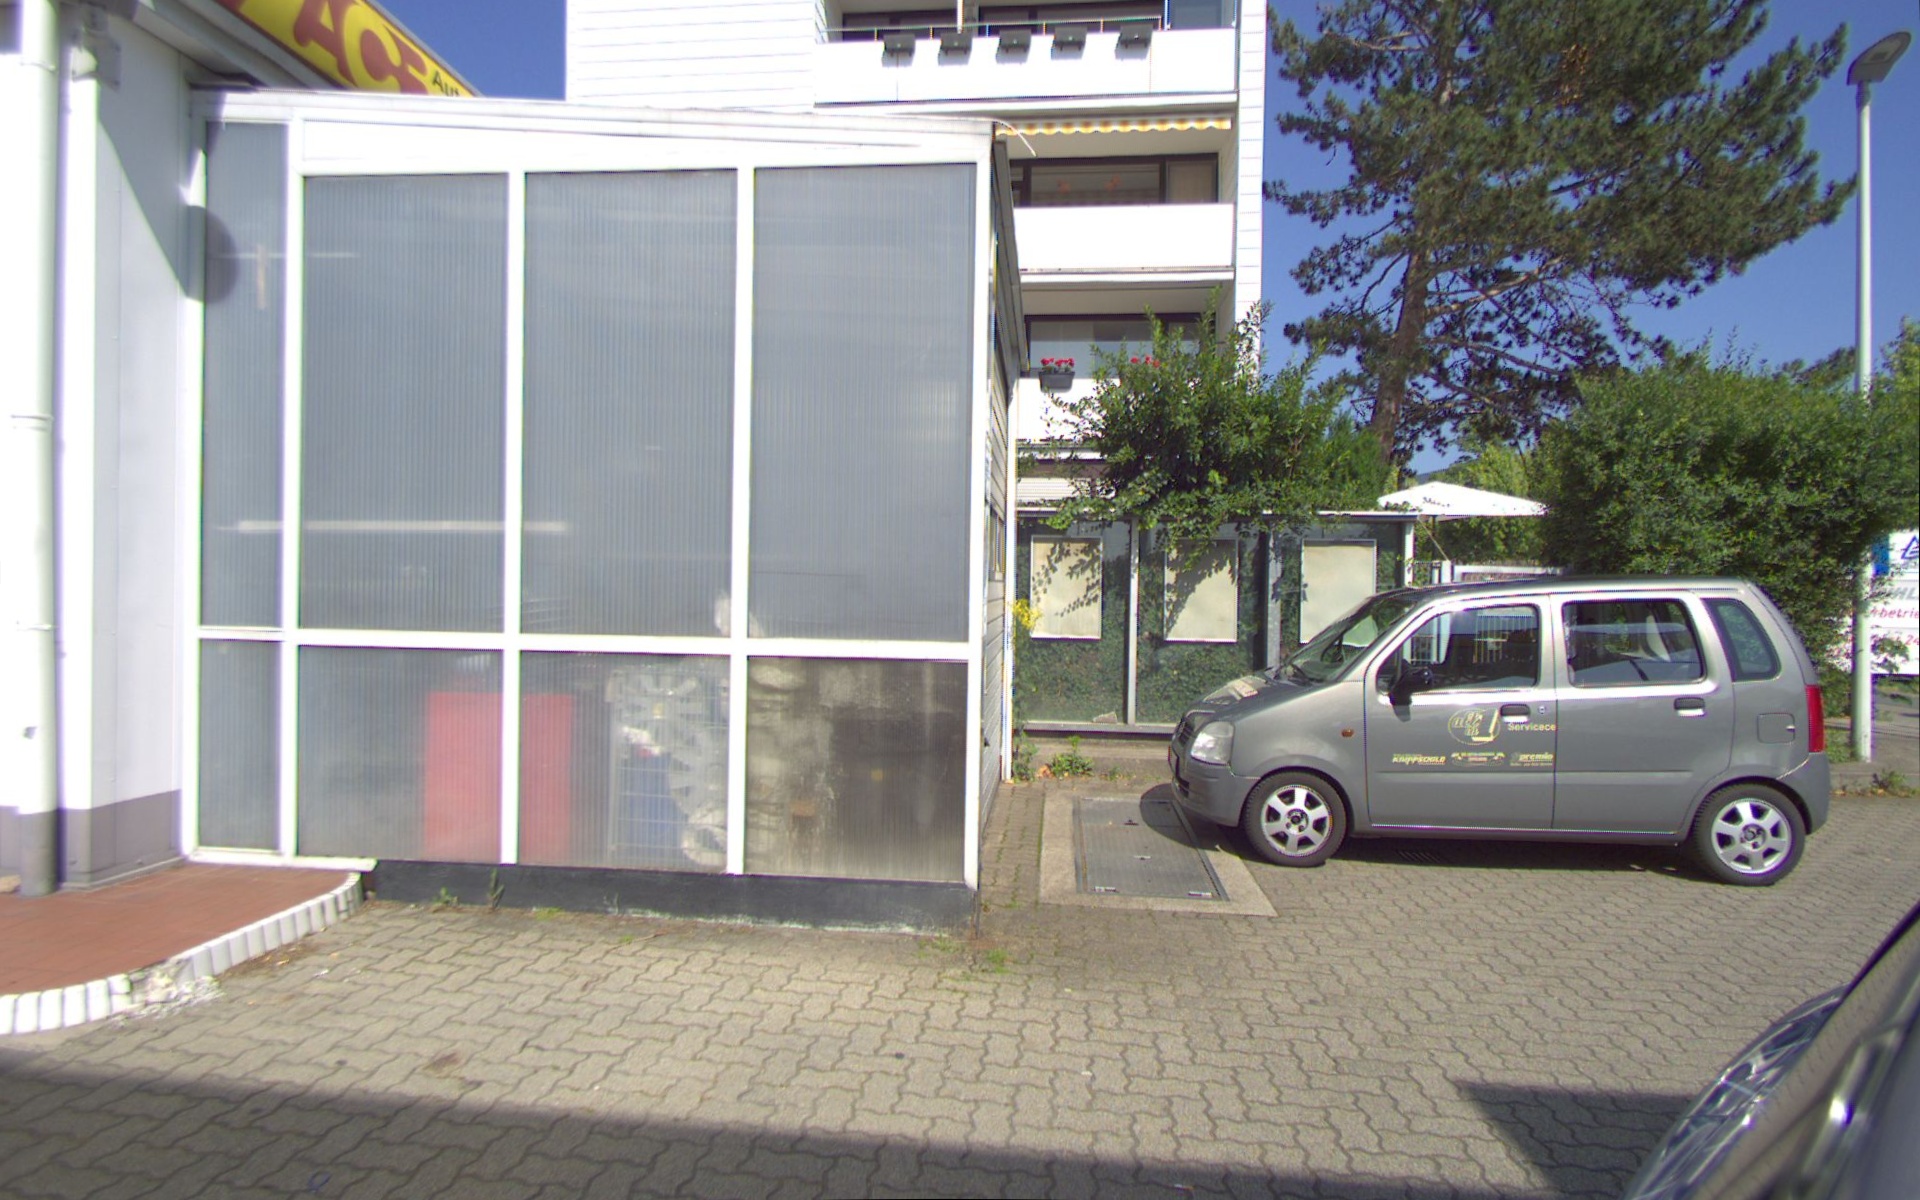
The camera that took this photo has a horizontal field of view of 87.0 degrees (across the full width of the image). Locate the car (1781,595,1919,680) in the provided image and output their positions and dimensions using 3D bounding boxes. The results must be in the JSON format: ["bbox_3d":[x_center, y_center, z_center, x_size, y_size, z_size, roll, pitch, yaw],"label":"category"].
[{"bbox_3d":[18.241,0.729,19.503,4.137,1.434,1.886,2,1,-21],"label":"car"}]

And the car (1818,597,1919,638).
[{"bbox_3d":[36.332,0.692,39.934,3.648,1.408,1.886,3,1,-12],"label":"car"}]

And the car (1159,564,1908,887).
[{"bbox_3d":[3.121,0.625,6.213,3.600,1.637,1.689,0,1,8],"label":"car"}]

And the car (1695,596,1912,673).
[{"bbox_3d":[18.820,0.758,22.606,4.137,1.500,1.886,2,1,-21],"label":"car"}]
